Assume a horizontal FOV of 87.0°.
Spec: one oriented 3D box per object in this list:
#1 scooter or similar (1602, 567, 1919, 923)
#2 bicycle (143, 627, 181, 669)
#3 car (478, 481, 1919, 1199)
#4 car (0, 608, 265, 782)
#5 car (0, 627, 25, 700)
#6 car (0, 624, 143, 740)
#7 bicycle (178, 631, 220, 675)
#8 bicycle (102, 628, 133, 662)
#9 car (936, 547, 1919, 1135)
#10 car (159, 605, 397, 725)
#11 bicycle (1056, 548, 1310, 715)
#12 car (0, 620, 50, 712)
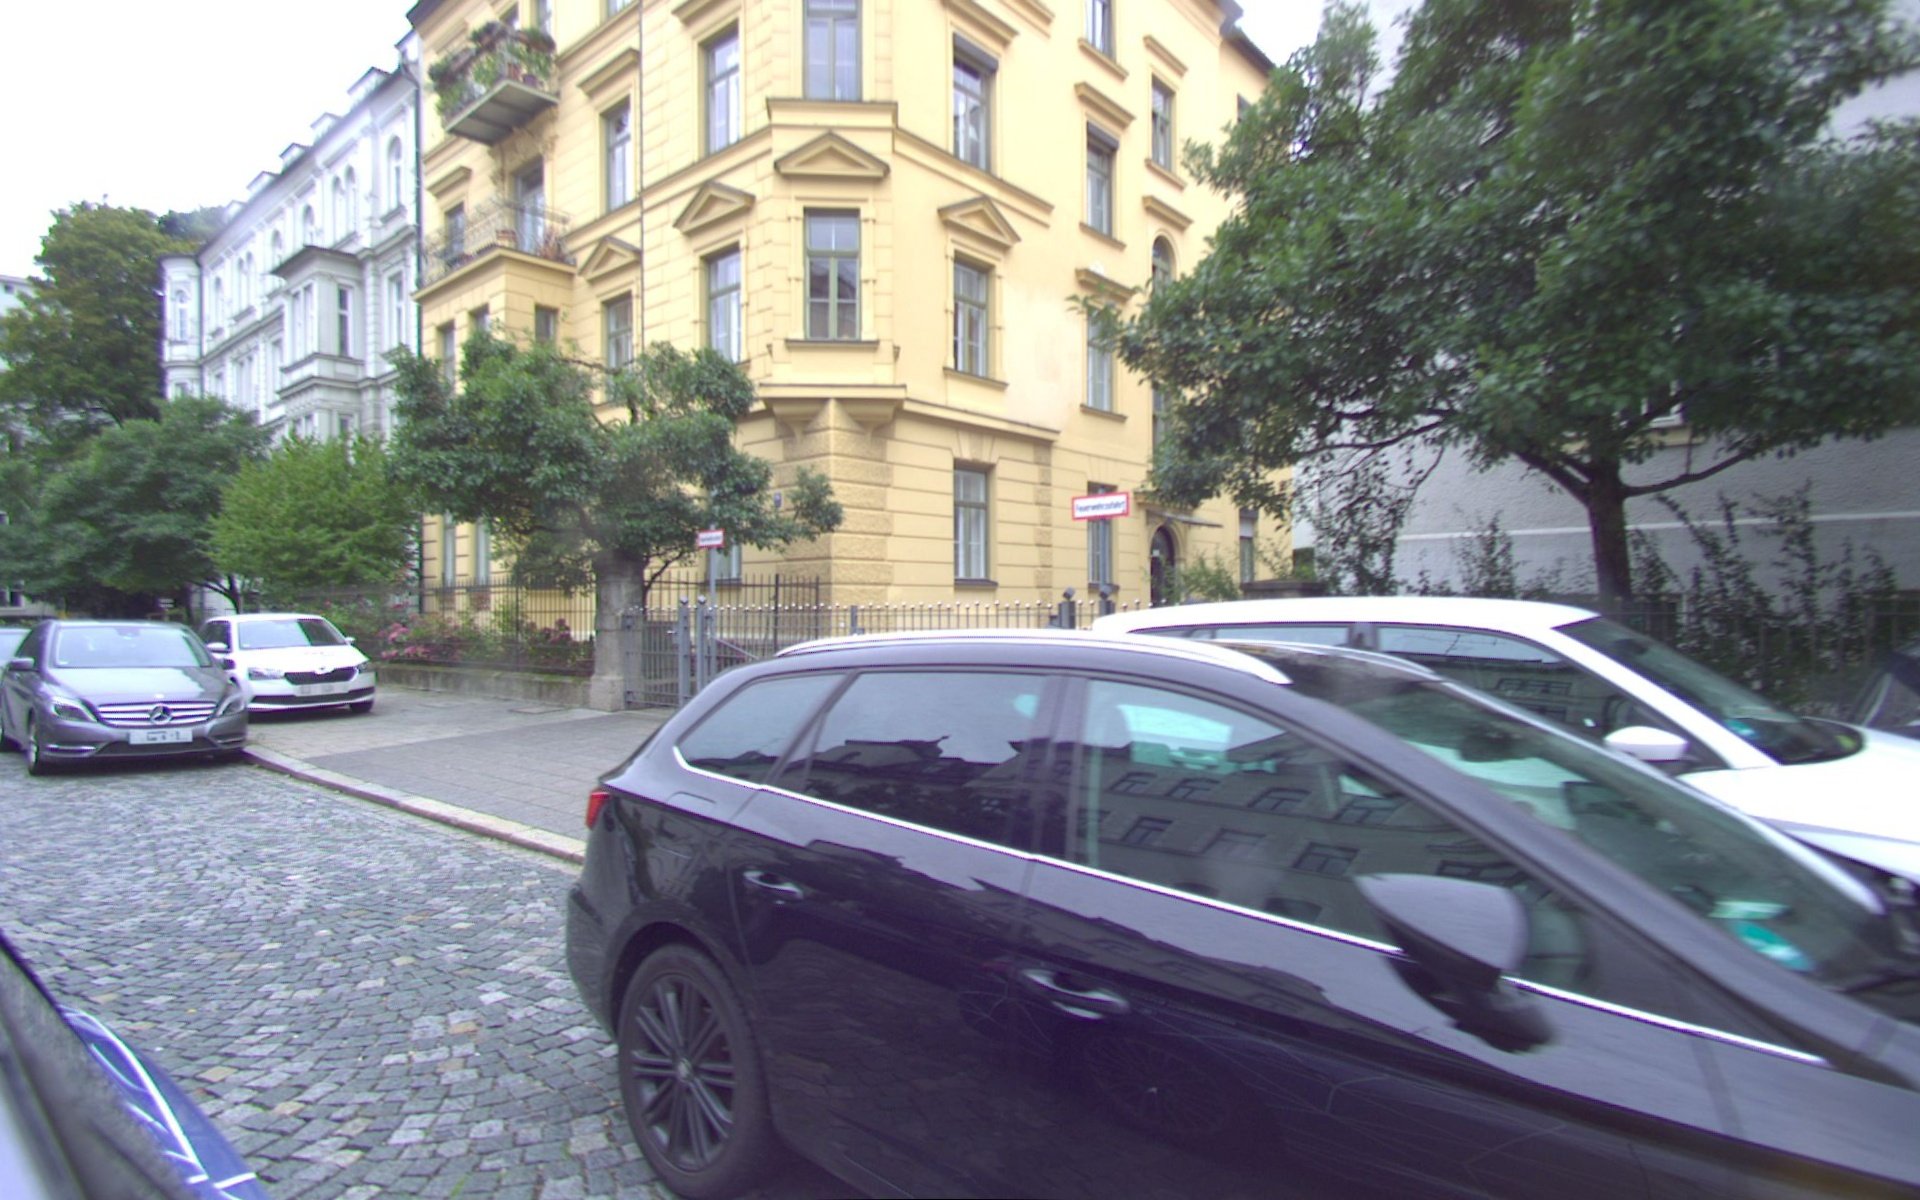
[{"bbox_3d":[4.600,0.623,4.661,2.633,1.535,1.051,-1,-1,41],"label":"scooter or similar"},{"bbox_3d":[-23.221,1.390,29.435,1.789,1.132,0.504,-1,3,41],"label":"bicycle"},{"bbox_3d":[0.797,0.719,2.322,4.534,1.615,1.722,-1,-2,40],"label":"car"},{"bbox_3d":[-9.518,0.919,11.288,4.186,1.598,1.723,-1,-2,38],"label":"car"},{"bbox_3d":[-22.353,1.338,22.406,4.639,1.521,1.799,-1,-4,40],"label":"car"},{"bbox_3d":[-13.874,1.094,14.904,5.129,1.481,1.851,-1,-2,39],"label":"car"},{"bbox_3d":[-19.617,1.347,26.088,1.759,1.059,0.468,-1,3,41],"label":"bicycle"},{"bbox_3d":[-28.012,1.492,33.642,1.694,1.059,0.458,-1,3,41],"label":"bicycle"},{"bbox_3d":[2.153,0.631,4.094,4.463,1.548,1.722,-1,1,40],"label":"car"},{"bbox_3d":[-10.155,0.857,14.941,4.387,1.477,1.823,-1,0,41],"label":"car"},{"bbox_3d":[1.839,0.255,8.605,2.059,1.268,0.599,-1,-1,41],"label":"bicycle"},{"bbox_3d":[-18.341,1.164,18.575,4.188,1.598,1.822,-1,-2,40],"label":"car"}]
